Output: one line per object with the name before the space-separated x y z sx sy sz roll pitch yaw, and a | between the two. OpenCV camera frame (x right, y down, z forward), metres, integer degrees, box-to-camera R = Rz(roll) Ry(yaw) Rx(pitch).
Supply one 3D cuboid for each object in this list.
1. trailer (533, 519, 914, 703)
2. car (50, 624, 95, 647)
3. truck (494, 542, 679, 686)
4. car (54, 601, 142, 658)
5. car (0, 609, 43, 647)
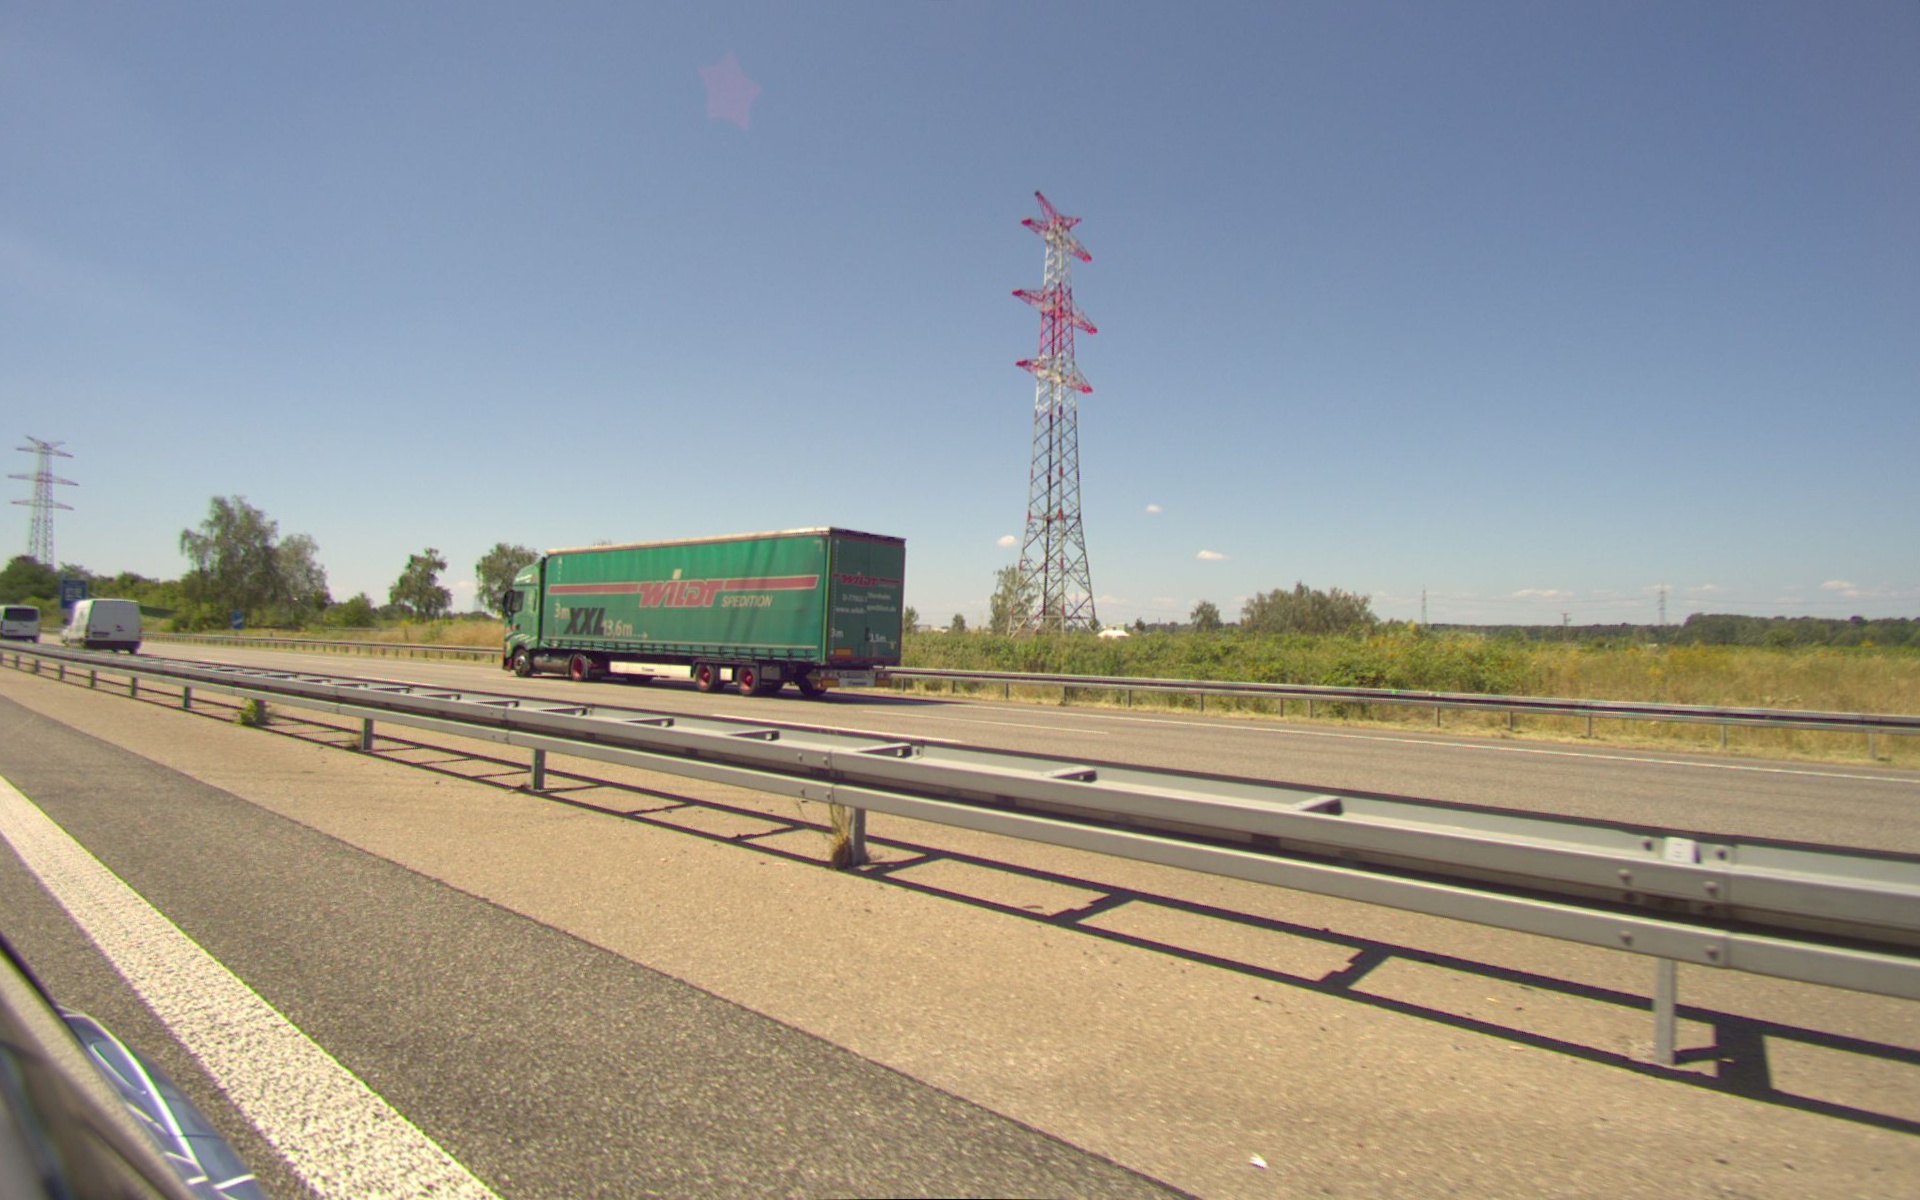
trailer | -7.246 0.380 28.212 13.907 4.116 2.641 -1 -3 41
car | -63.545 2.513 72.454 4.511 1.535 1.690 -1 -5 41
truck | -12.053 0.494 32.401 6.577 4.166 2.671 -1 -3 41
car | -39.659 1.359 46.521 6.065 2.457 2.026 -1 -4 40
car | -59.297 1.754 63.214 6.702 2.315 2.087 -1 -3 41
